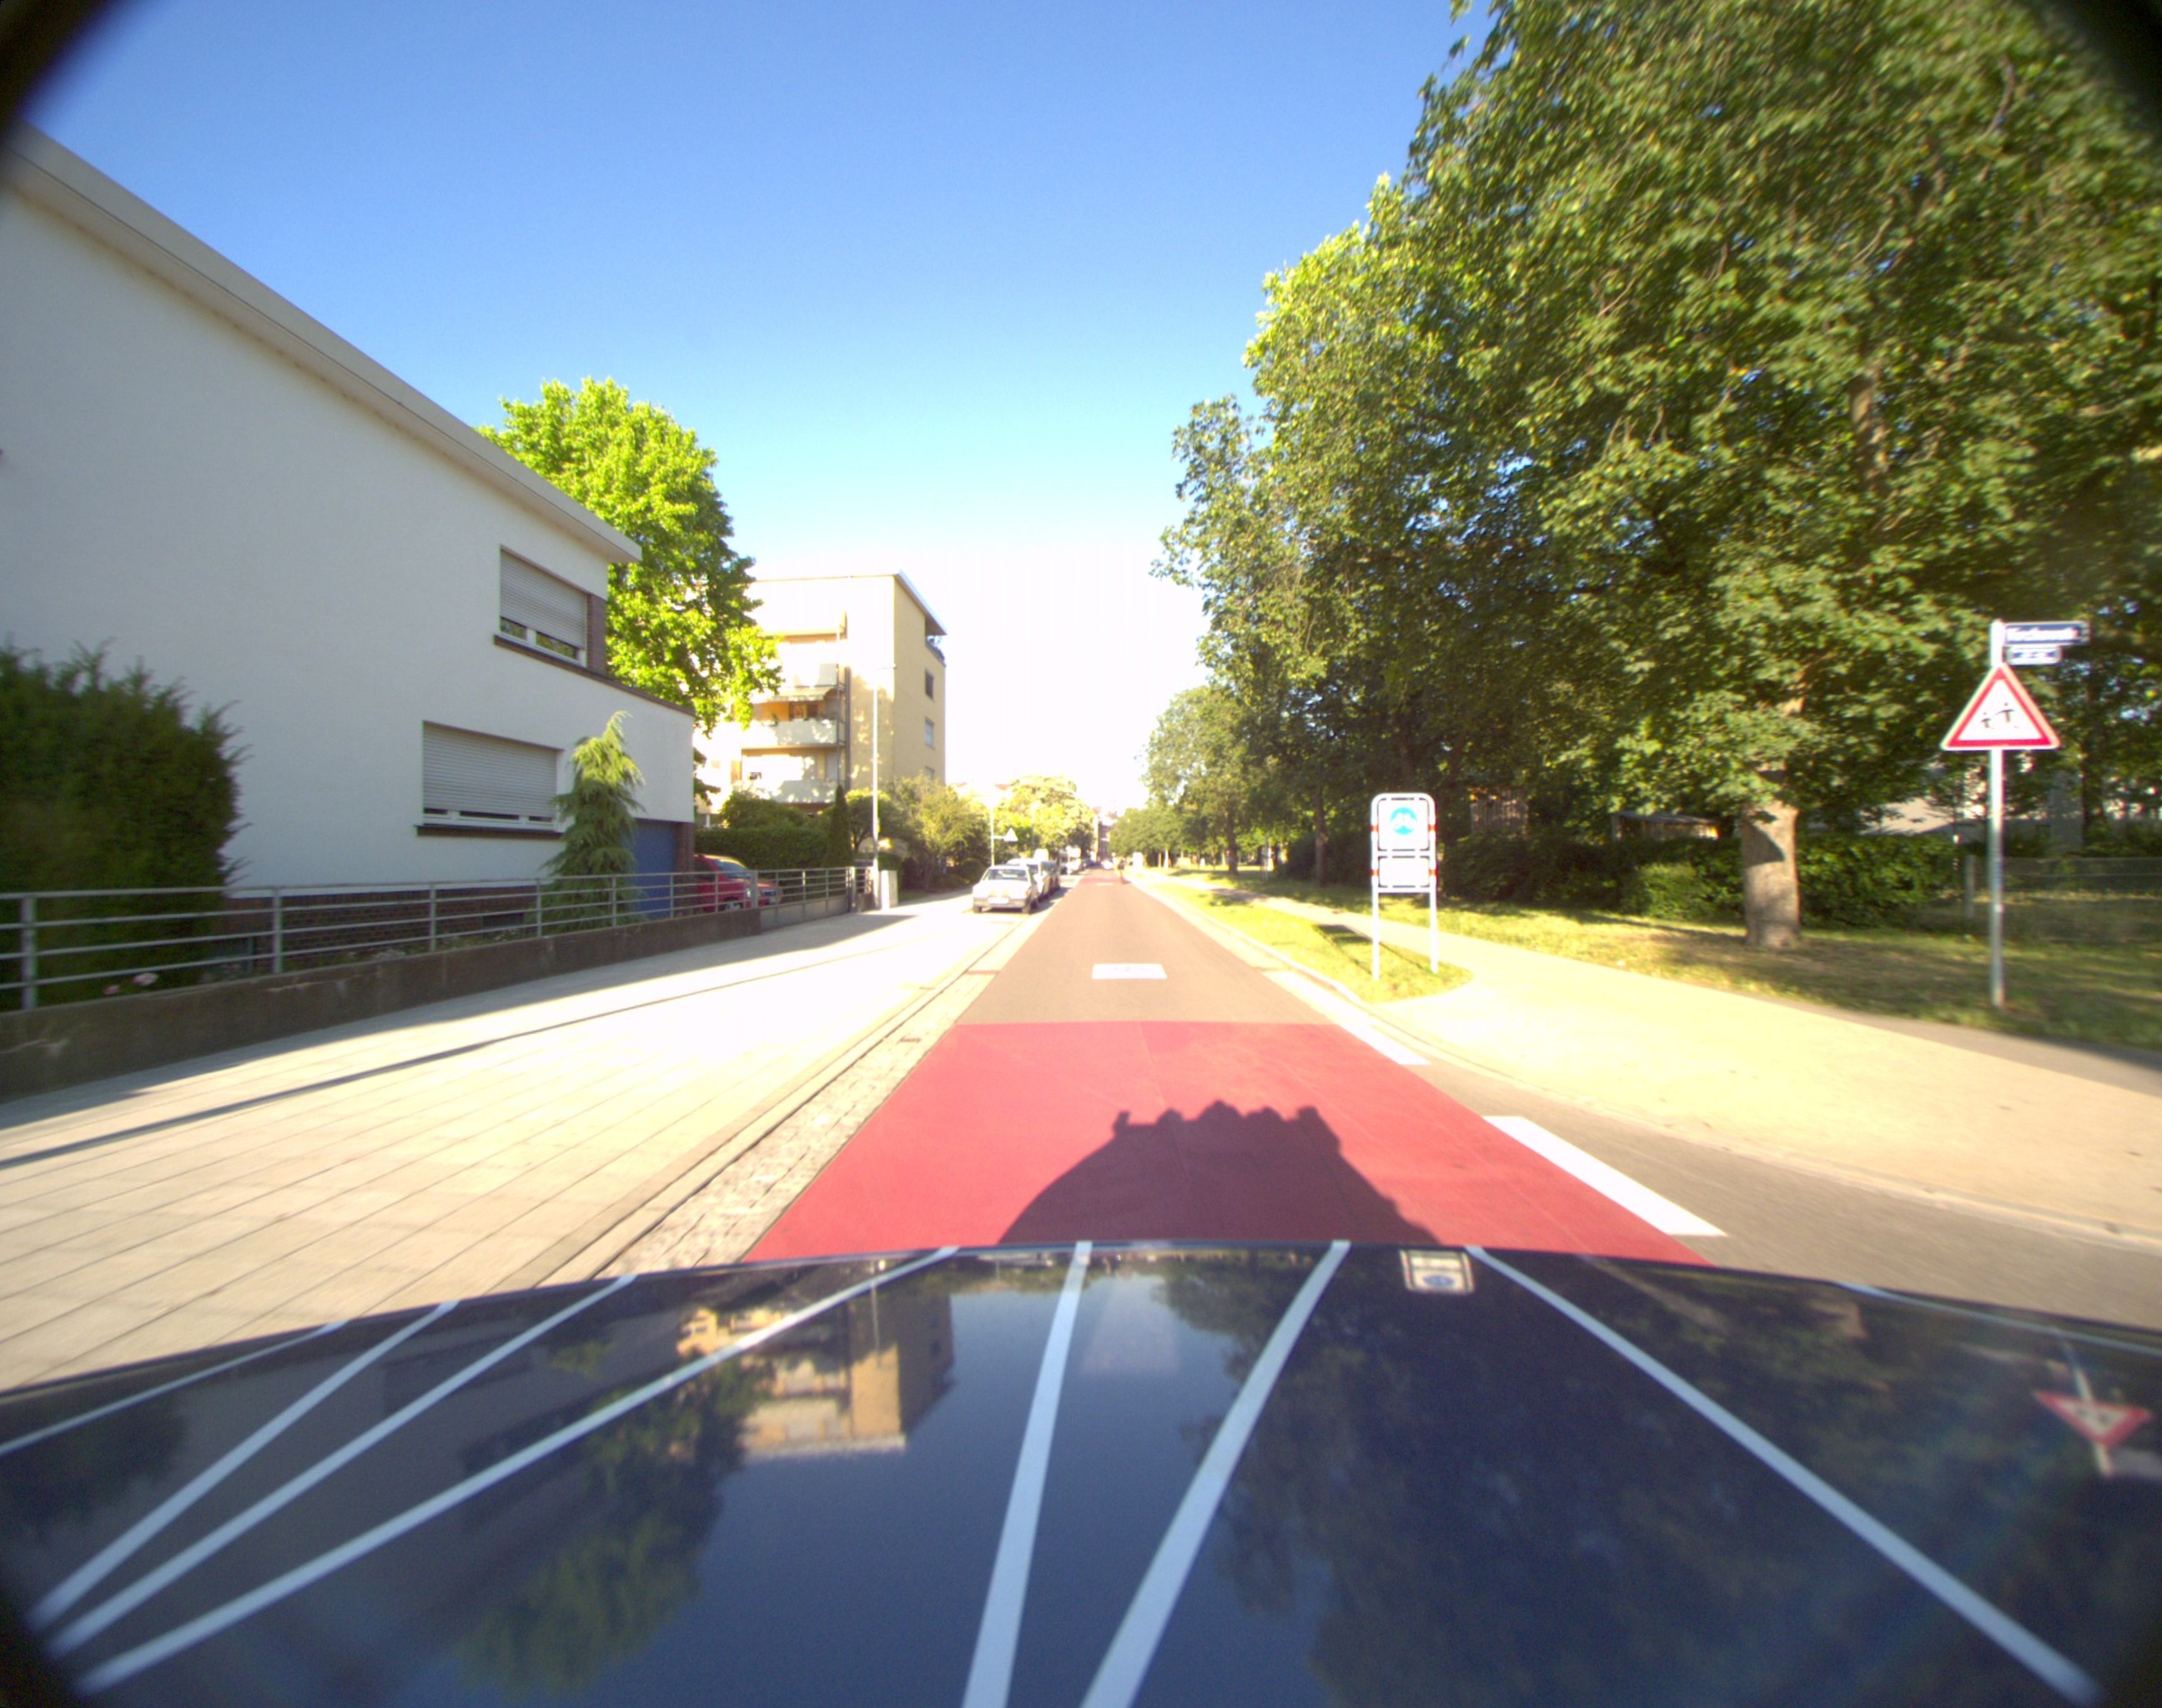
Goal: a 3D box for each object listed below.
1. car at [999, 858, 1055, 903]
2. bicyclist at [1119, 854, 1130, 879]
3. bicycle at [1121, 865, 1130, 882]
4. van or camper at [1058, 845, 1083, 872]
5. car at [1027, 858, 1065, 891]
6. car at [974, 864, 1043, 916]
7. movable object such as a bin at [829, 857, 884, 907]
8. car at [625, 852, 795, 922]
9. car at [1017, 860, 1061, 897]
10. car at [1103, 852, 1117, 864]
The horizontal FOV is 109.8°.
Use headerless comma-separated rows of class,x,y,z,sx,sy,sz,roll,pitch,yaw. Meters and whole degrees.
car,-2.006,0.970,29.446,1.682,1.546,4.131,1,0,2
bicyclist,2.869,0.840,50.674,0.683,1.663,1.172,0,1,1
bicycle,2.953,1.280,50.720,0.558,1.026,1.915,0,1,1
van or camper,-1.093,0.442,81.291,2.427,2.766,5.952,1,0,0
car,-1.781,1.013,39.510,1.714,1.601,4.168,1,0,0
car,-2.165,1.054,23.666,1.567,1.382,4.374,1,0,2
movable object such as a bin,-6.701,0.827,22.787,1.240,1.424,1.123,-1,0,3
car,-9.276,0.803,19.111,3.499,1.632,1.644,-1,0,9
car,-1.845,1.063,34.735,1.683,1.546,4.144,1,0,1
car,4.498,0.652,117.791,1.848,1.836,4.572,-1,0,-1
